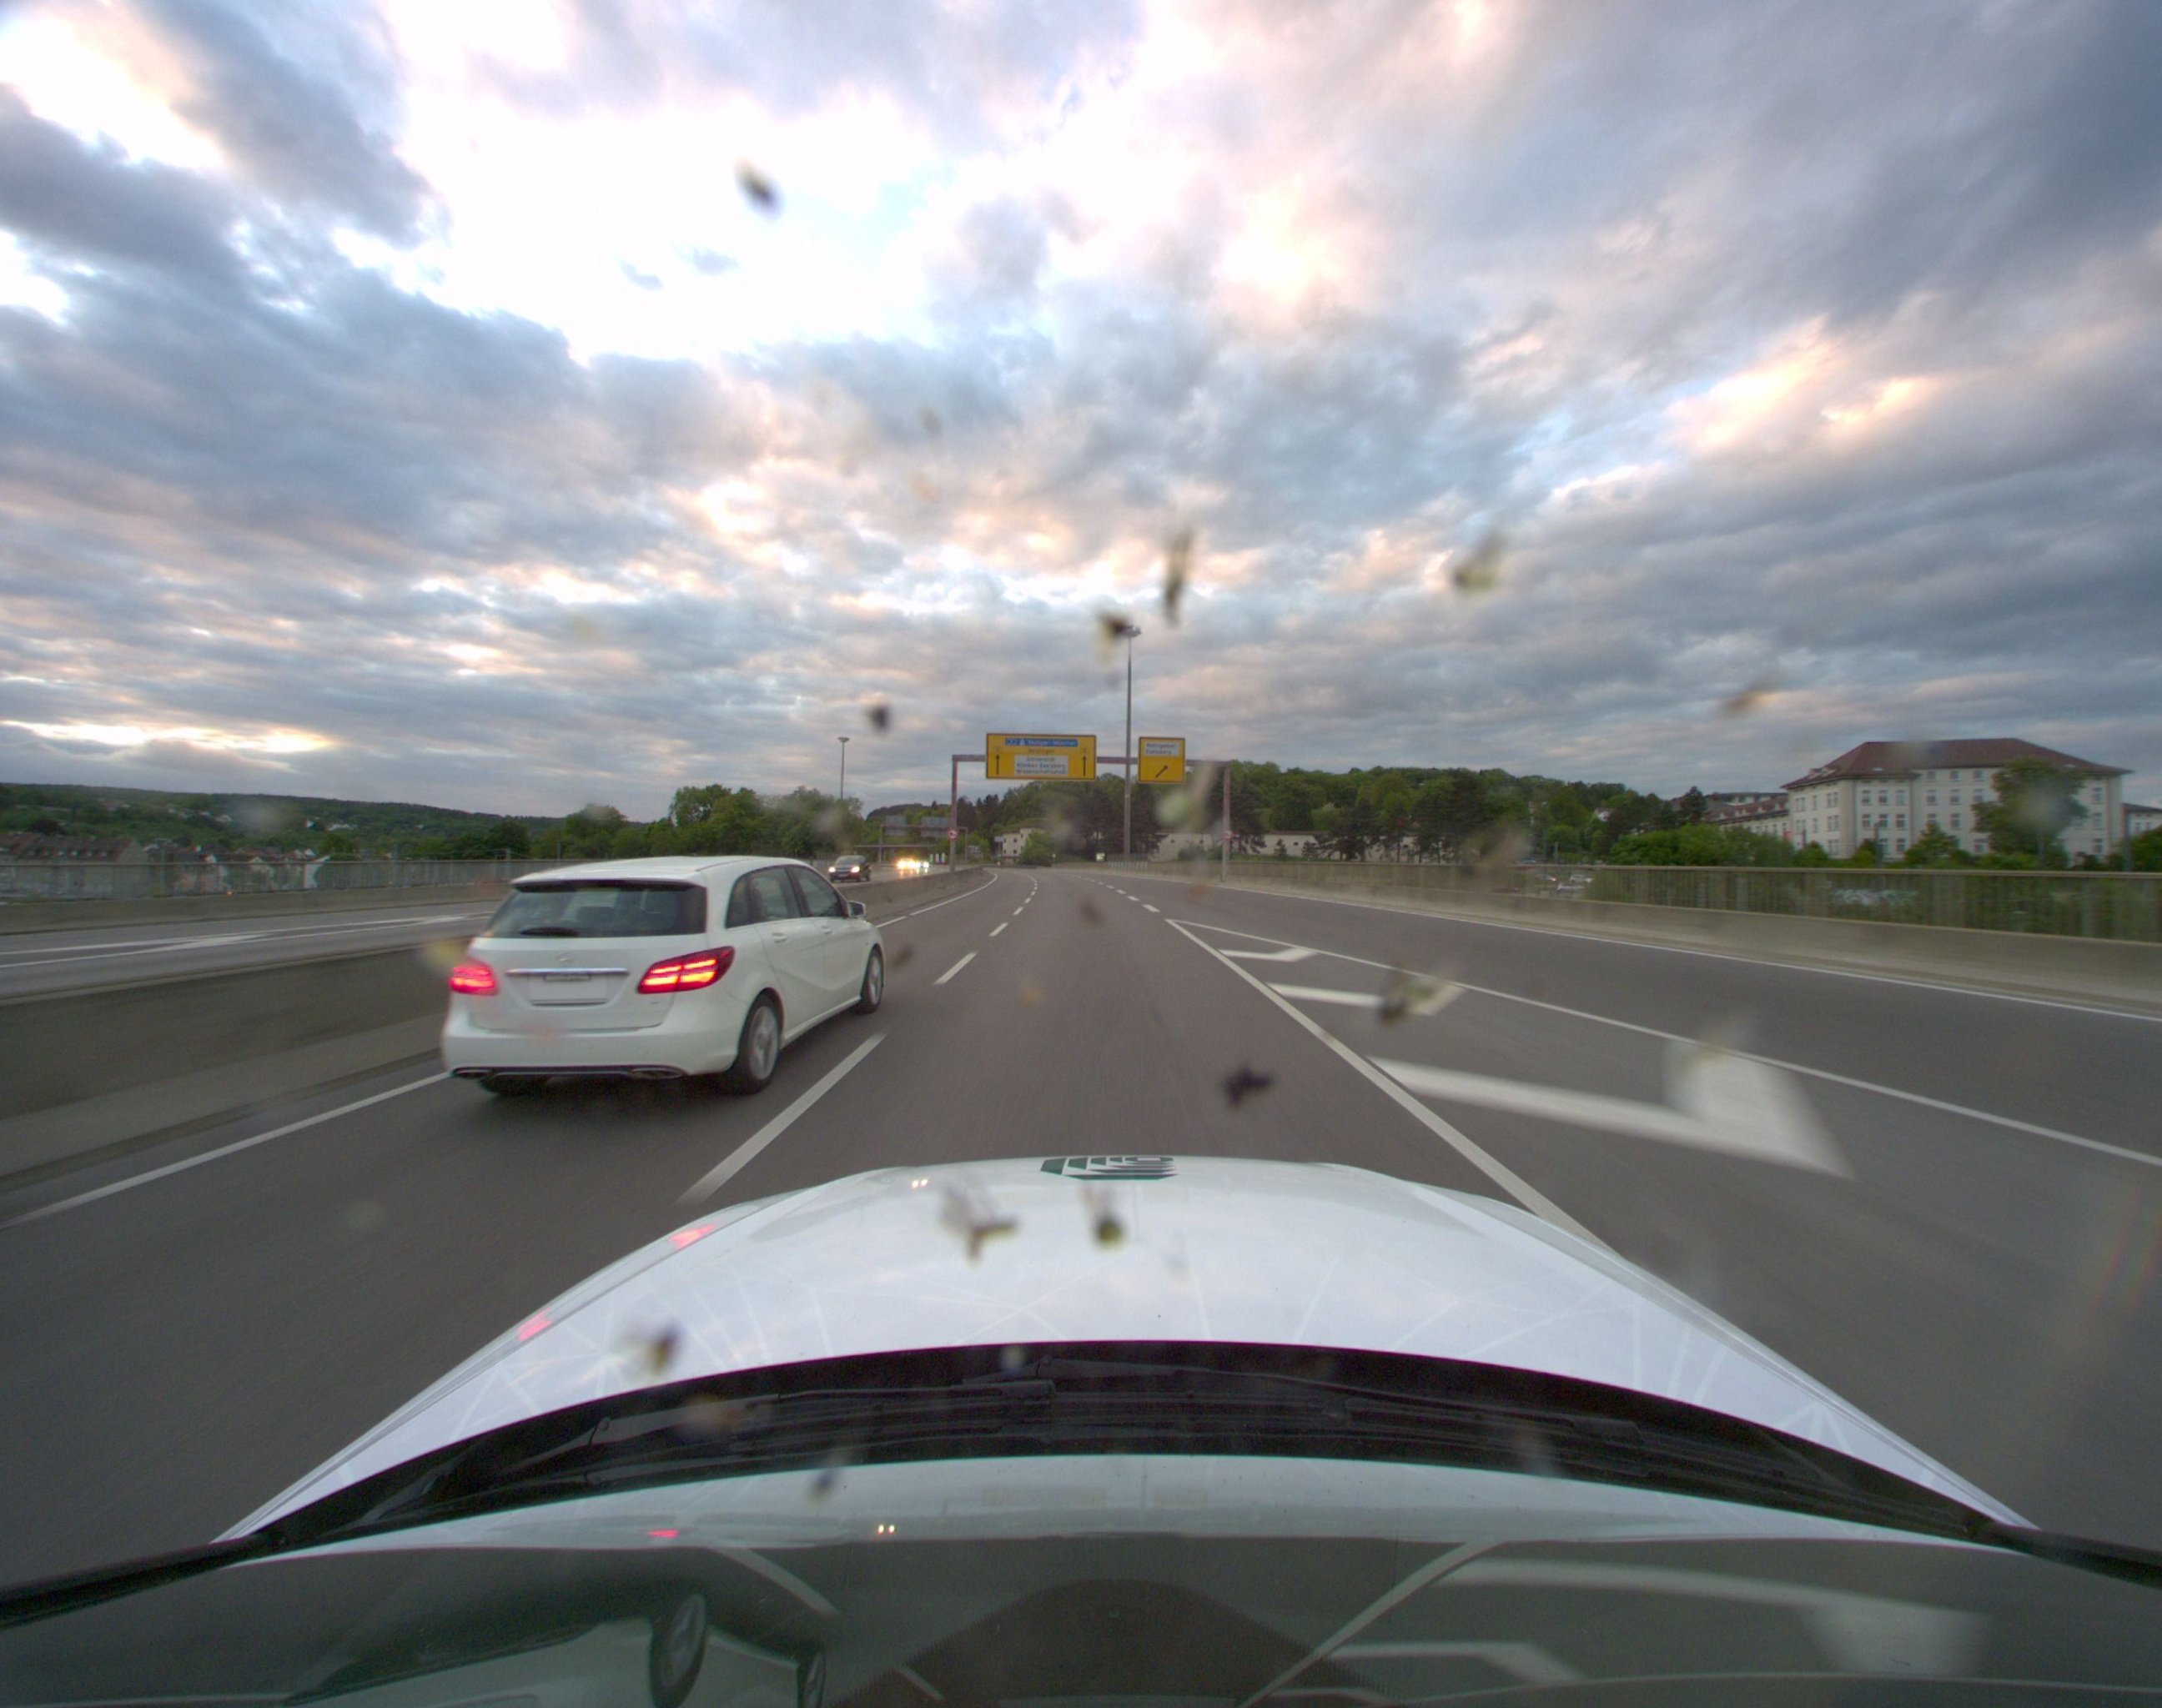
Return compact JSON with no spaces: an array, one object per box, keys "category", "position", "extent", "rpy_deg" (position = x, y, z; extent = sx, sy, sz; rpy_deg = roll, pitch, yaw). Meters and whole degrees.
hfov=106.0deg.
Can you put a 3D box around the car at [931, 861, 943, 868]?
[{"category":"car","position":[-38.607,2.831,218.902],"extent":[2.005,1.838,3.962],"rpy_deg":[1,-2,-29]}]

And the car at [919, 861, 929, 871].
[{"category":"car","position":[-27.015,2.069,140.113],"extent":[1.667,1.643,3.988],"rpy_deg":[0,0,-9]}]

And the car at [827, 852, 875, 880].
[{"category":"car","position":[-12.809,0.644,45.548],"extent":[1.727,1.476,4.218],"rpy_deg":[0,0,-4]}]

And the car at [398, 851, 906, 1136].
[{"category":"car","position":[-2.860,0.769,6.847],"extent":[1.685,1.537,4.783],"rpy_deg":[-1,0,1]}]

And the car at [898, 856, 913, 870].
[{"category":"car","position":[-23.040,1.196,106.987],"extent":[1.667,1.733,3.987],"rpy_deg":[0,-1,-9]}]
